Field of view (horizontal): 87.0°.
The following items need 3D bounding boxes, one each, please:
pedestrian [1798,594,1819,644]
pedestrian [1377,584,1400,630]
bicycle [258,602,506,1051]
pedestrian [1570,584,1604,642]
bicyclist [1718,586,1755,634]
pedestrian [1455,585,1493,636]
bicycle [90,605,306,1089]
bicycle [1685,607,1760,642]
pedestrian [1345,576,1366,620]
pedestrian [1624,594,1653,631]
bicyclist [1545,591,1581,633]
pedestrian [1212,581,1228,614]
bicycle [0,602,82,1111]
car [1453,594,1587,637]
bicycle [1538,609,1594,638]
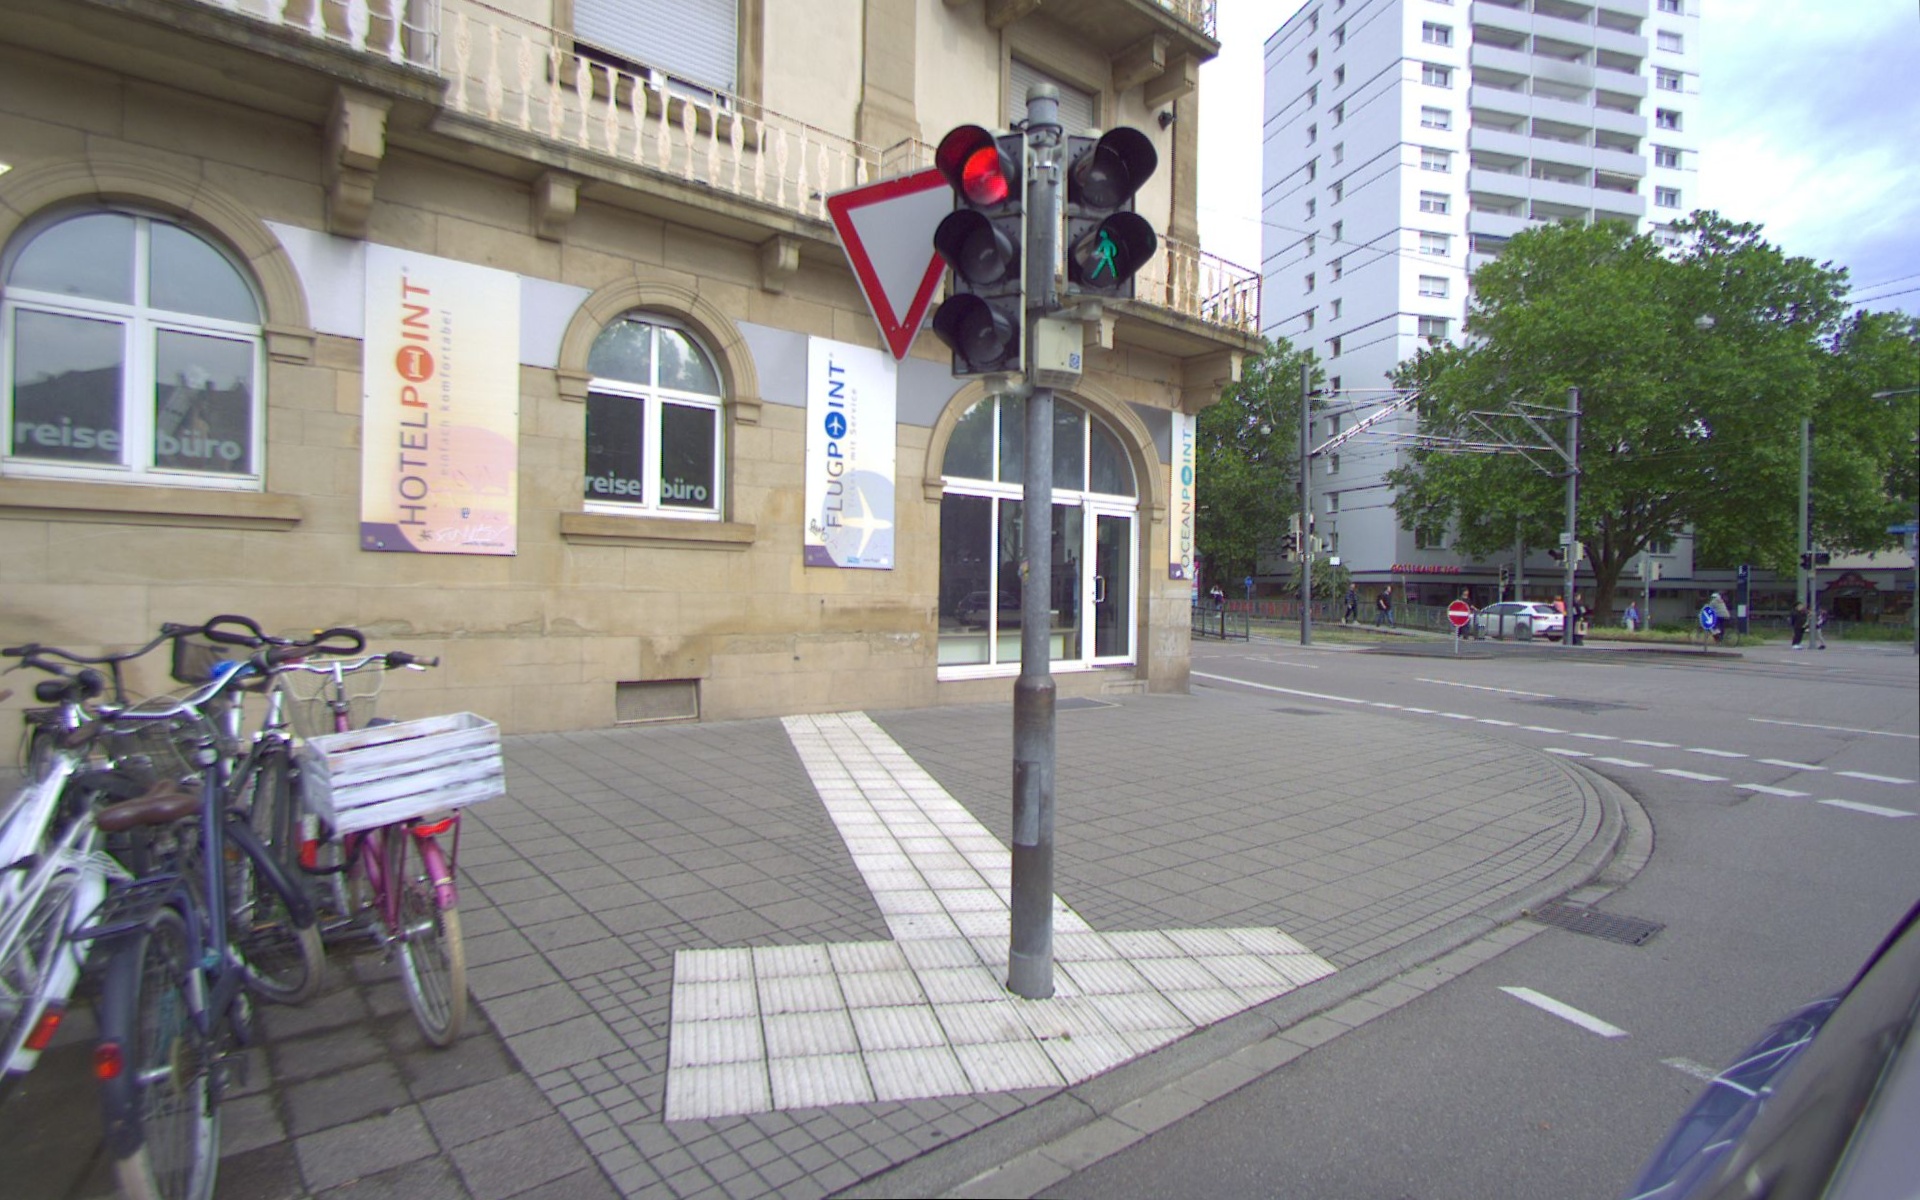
[{"bbox_3d":[28.278,0.621,33.734,0.522,1.632,0.519,0,0,42],"label":"pedestrian"},{"bbox_3d":[16.585,0.271,39.196,0.609,1.773,0.549,0,0,-15],"label":"pedestrian"},{"bbox_3d":[-2.083,0.633,3.548,0.468,1.141,1.571,-1,4,-40],"label":"bicycle"},{"bbox_3d":[19.518,0.406,31.500,0.642,1.772,0.628,0,0,-13],"label":"pedestrian"},{"bbox_3d":[26.241,0.346,34.213,0.572,1.582,0.758,3,-1,-15],"label":"bicyclist"},{"bbox_3d":[17.604,0.346,34.671,0.727,1.717,0.880,-1,0,-15],"label":"pedestrian"},{"bbox_3d":[-2.568,0.647,3.358,0.468,1.141,1.571,-1,4,-40],"label":"bicycle"},{"bbox_3d":[26.058,0.813,34.633,0.714,1.077,1.997,3,0,-15],"label":"bicycle"},{"bbox_3d":[16.447,-0.075,42.114,0.609,1.812,0.536,0,0,-15],"label":"pedestrian"},{"bbox_3d":[28.513,0.534,42.505,0.543,1.528,0.855,-1,0,-17],"label":"pedestrian"},{"bbox_3d":[24.578,0.488,41.266,0.693,1.658,0.996,3,-1,-16],"label":"bicyclist"},{"bbox_3d":[13.480,-0.123,52.462,0.609,1.689,0.566,0,0,-15],"label":"pedestrian"},{"bbox_3d":[-2.921,0.634,2.991,0.468,1.141,1.571,-1,4,-40],"label":"bicycle"},{"bbox_3d":[20.943,0.526,38.080,1.809,1.466,4.423,-1,1,-16],"label":"car"},{"bbox_3d":[24.588,0.953,41.101,0.714,1.077,1.997,3,0,-16],"label":"bicycle"}]
